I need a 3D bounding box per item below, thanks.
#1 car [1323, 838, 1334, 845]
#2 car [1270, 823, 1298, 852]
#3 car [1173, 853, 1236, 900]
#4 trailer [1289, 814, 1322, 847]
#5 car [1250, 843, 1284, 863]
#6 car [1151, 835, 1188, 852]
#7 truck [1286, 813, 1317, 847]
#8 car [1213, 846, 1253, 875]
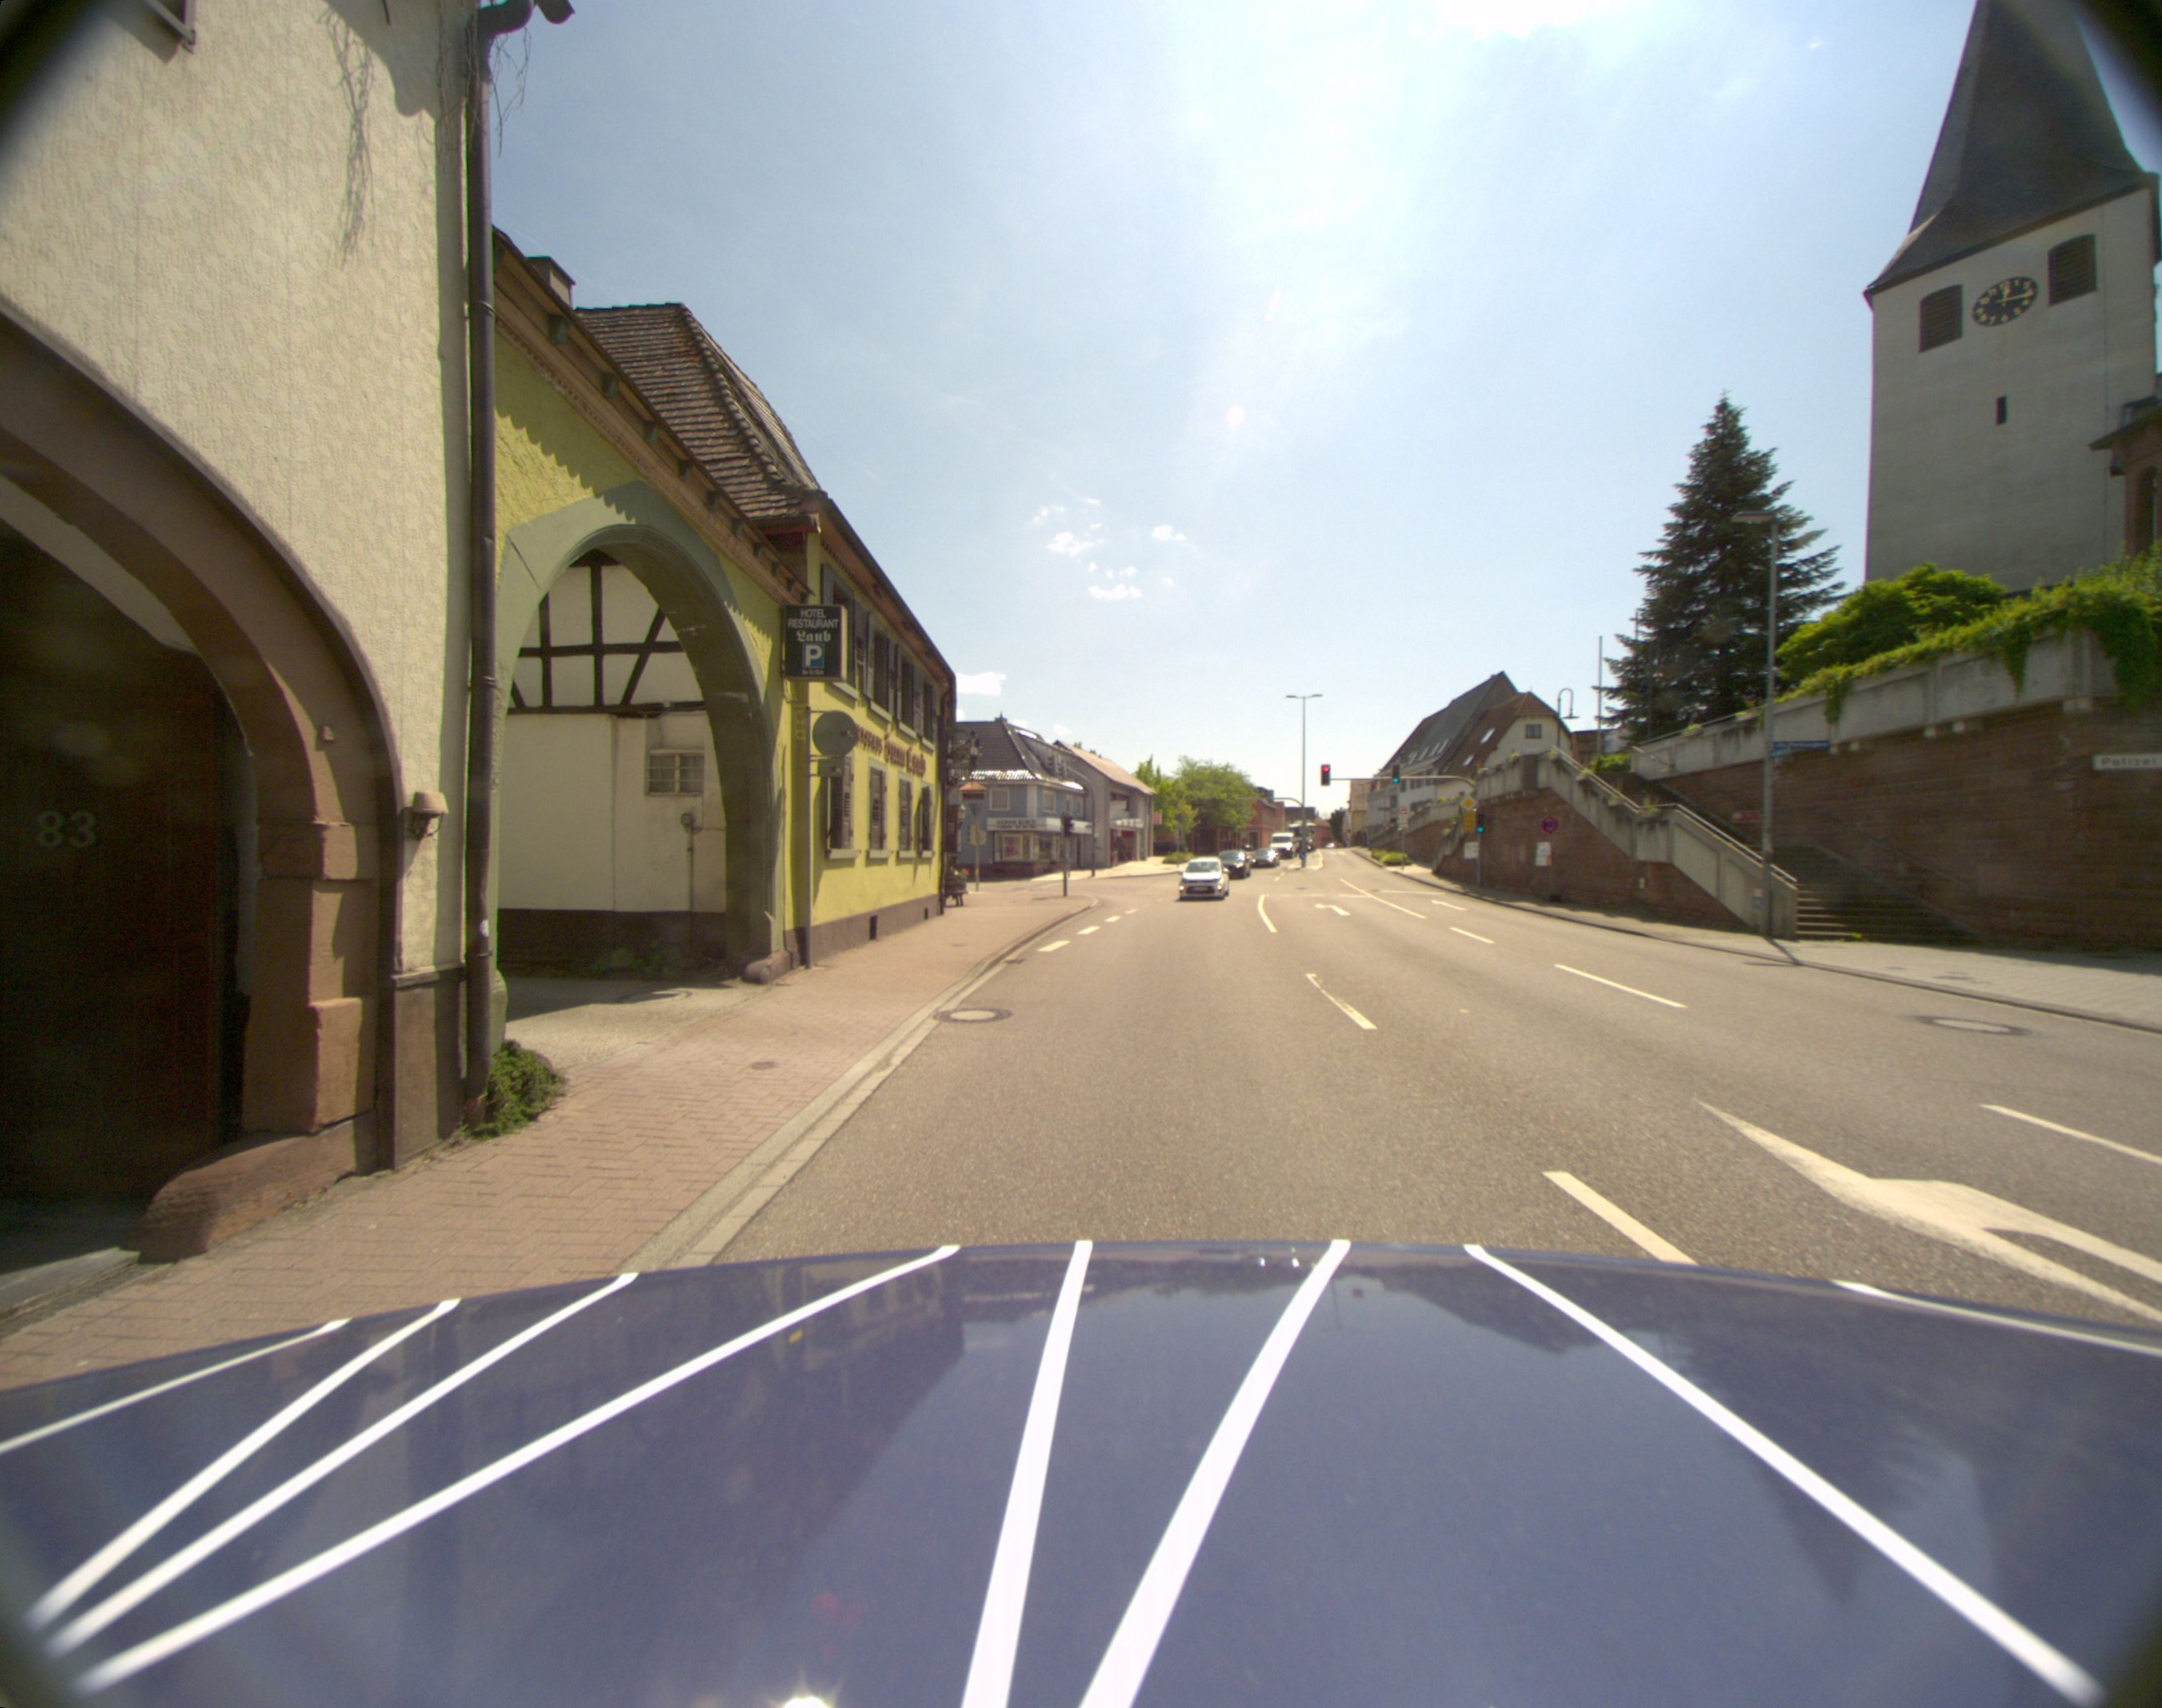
[{"bbox_3d":[58.694,-2.915,180.053,2.008,1.621,4.585,0,1,26],"label":"car"},{"bbox_3d":[18.731,-1.455,69.970,2.172,2.549,4.831,0,1,18],"label":"car"},{"bbox_3d":[4.736,0.800,28.677,1.722,1.541,4.308,-2,1,17],"label":"car"},{"bbox_3d":[26.330,-2.659,88.653,2.833,3.549,10.981,0,1,21],"label":"trailer"},{"bbox_3d":[14.093,-0.088,57.514,1.926,1.358,4.309,-2,1,21],"label":"car"},{"bbox_3d":[9.539,-1.110,81.963,3.756,1.701,1.726,-2,1,14],"label":"car"},{"bbox_3d":[24.064,-2.546,82.666,2.843,3.549,5.476,0,1,21],"label":"truck"},{"bbox_3d":[9.014,0.352,44.813,1.722,1.541,4.308,-2,1,19],"label":"car"}]
